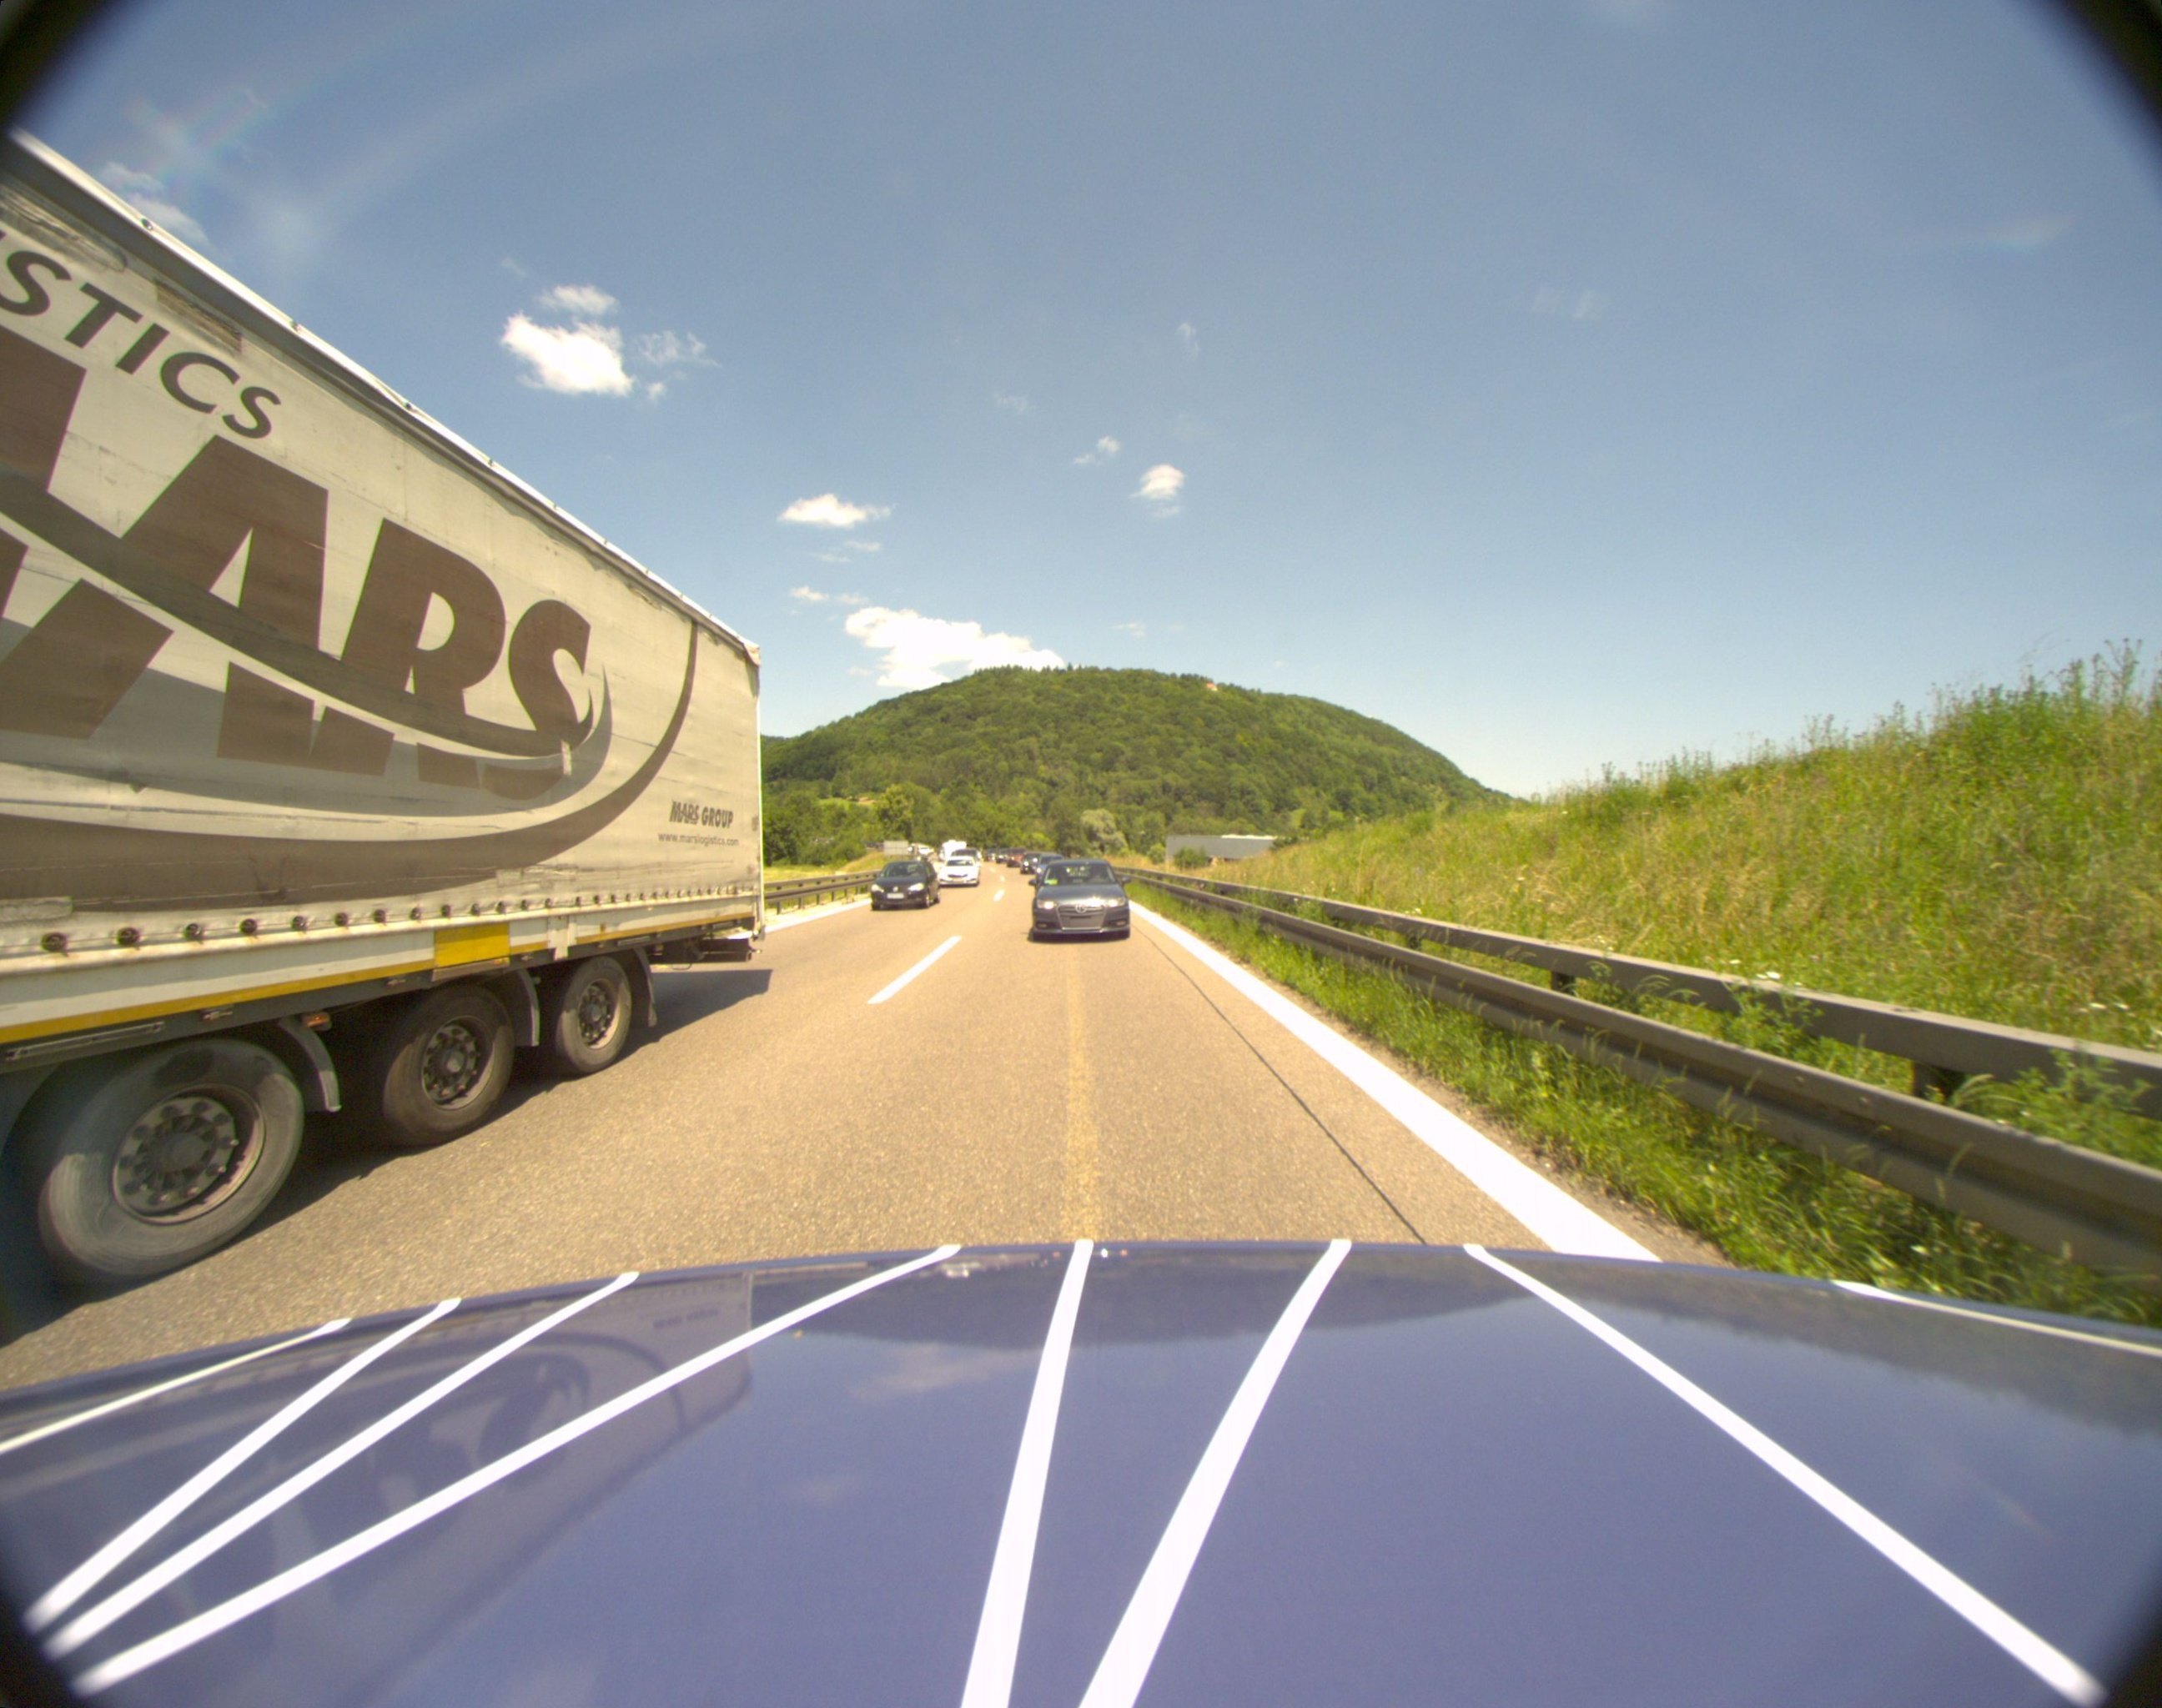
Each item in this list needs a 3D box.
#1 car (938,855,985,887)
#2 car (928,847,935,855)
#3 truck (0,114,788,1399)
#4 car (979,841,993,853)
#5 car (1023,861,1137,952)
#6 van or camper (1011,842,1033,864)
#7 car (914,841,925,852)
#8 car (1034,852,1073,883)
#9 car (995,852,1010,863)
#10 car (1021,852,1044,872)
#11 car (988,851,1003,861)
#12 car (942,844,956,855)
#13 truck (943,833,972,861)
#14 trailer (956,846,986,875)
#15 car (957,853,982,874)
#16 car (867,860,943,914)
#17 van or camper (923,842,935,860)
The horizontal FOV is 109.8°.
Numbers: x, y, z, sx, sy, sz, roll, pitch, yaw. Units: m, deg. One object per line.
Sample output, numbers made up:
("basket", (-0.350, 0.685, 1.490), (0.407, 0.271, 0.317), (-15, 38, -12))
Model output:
("car", (-5.824, 0.799, 37.401), (1.908, 1.422, 3.720), (-3, 1, -4))
("car", (-30.348, -0.591, 154.493), (1.247, 1.470, 2.957), (-4, 1, -12))
("truck", (-4.753, -0.300, 2.191), (2.733, 4.044, 13.736), (-2, 1, -2))
("car", (-14.081, -0.963, 112.158), (1.532, 1.628, 3.414), (-4, 1, -13))
("car", (-0.165, 0.866, 14.409), (1.756, 1.382, 4.053), (-2, 0, -5))
("van or camper", (-5.405, -0.089, 69.212), (1.818, 1.855, 3.610), (-2, 1, -8))
("car", (-31.179, -1.467, 146.705), (2.001, 2.002, 3.995), (-3, 1, -14))
("car", (-1.443, 0.629, 38.164), (1.696, 1.422, 3.461), (-2, 0, -6))
("car", (-8.581, 0.321, 82.737), (1.492, 1.102, 3.211), (-3, 1, -9))
("car", (-3.330, 0.532, 52.132), (1.287, 1.305, 3.450), (-3, 1, -8))
("car", (-10.756, 0.257, 95.258), (1.492, 1.102, 3.210), (-3, 1, -12))
("car", (-19.024, -0.603, 109.489), (1.700, 1.523, 3.676), (-4, 1, -13))
("truck", (-14.784, -0.789, 90.461), (2.605, 3.089, 6.850), (-4, 1, -14))
("trailer", (-7.918, 0.476, 54.737), (2.000, 1.958, 3.997), (-1, 0, -8))
("car", (-7.427, 0.617, 50.863), (1.489, 1.375, 3.736), (0, 0, -6))
("car", (-5.306, 0.945, 23.369), (1.696, 1.414, 3.836), (-2, 0, -5))
("van or camper", (-27.659, -0.538, 138.153), (1.912, 3.010, 4.868), (-1, 1, -15))
